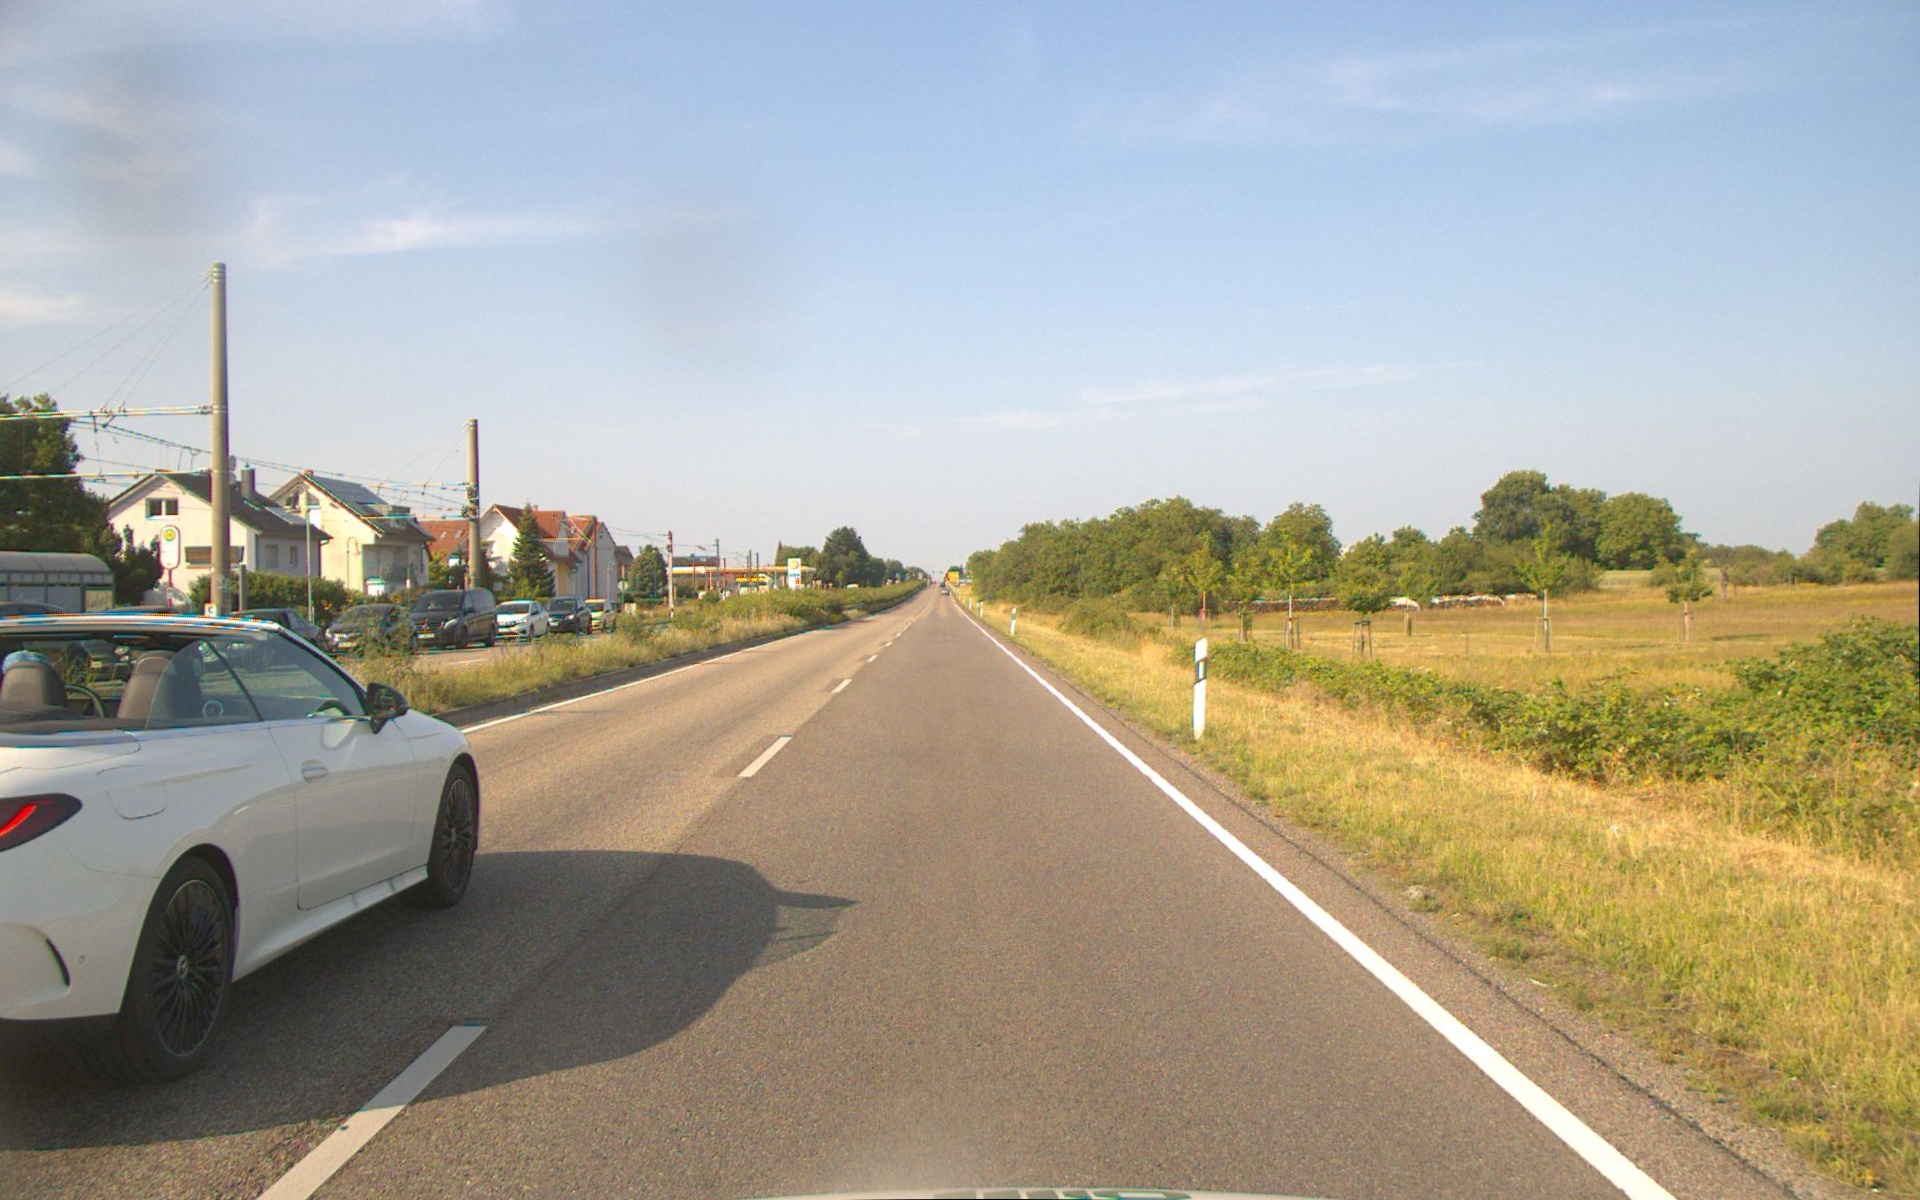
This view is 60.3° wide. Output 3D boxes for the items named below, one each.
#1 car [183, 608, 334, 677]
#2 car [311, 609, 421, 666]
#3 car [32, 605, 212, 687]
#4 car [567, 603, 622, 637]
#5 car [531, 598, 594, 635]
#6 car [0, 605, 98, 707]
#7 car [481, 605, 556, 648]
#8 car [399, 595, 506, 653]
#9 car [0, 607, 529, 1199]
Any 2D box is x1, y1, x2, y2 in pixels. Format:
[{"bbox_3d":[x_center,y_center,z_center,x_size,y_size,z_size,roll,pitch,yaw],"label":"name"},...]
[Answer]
[{"bbox_3d":[-16.702,0.975,39.615,1.626,1.456,4.716,-2,0,-1],"label":"car"},{"bbox_3d":[-16.569,1.017,46.350,1.626,1.456,4.056,-2,0,-1],"label":"car"},{"bbox_3d":[-16.568,0.865,32.904,1.626,1.456,3.804,-2,0,-1],"label":"car"},{"bbox_3d":[-17.133,0.906,77.743,1.626,1.456,4.325,-2,0,-1],"label":"car"},{"bbox_3d":[-16.772,0.677,69.906,1.626,1.456,4.325,-2,0,-1],"label":"car"},{"bbox_3d":[-15.951,0.919,26.766,1.626,1.590,4.545,-2,0,-1],"label":"car"},{"bbox_3d":[-16.494,0.962,61.965,1.626,1.456,4.447,-2,0,-1],"label":"car"},{"bbox_3d":[-16.375,0.728,53.616,1.876,1.712,5.252,-2,0,-1],"label":"car"},{"bbox_3d":[-3.134,0.739,6.225,1.735,1.361,4.949,1,0,0],"label":"car"}]
